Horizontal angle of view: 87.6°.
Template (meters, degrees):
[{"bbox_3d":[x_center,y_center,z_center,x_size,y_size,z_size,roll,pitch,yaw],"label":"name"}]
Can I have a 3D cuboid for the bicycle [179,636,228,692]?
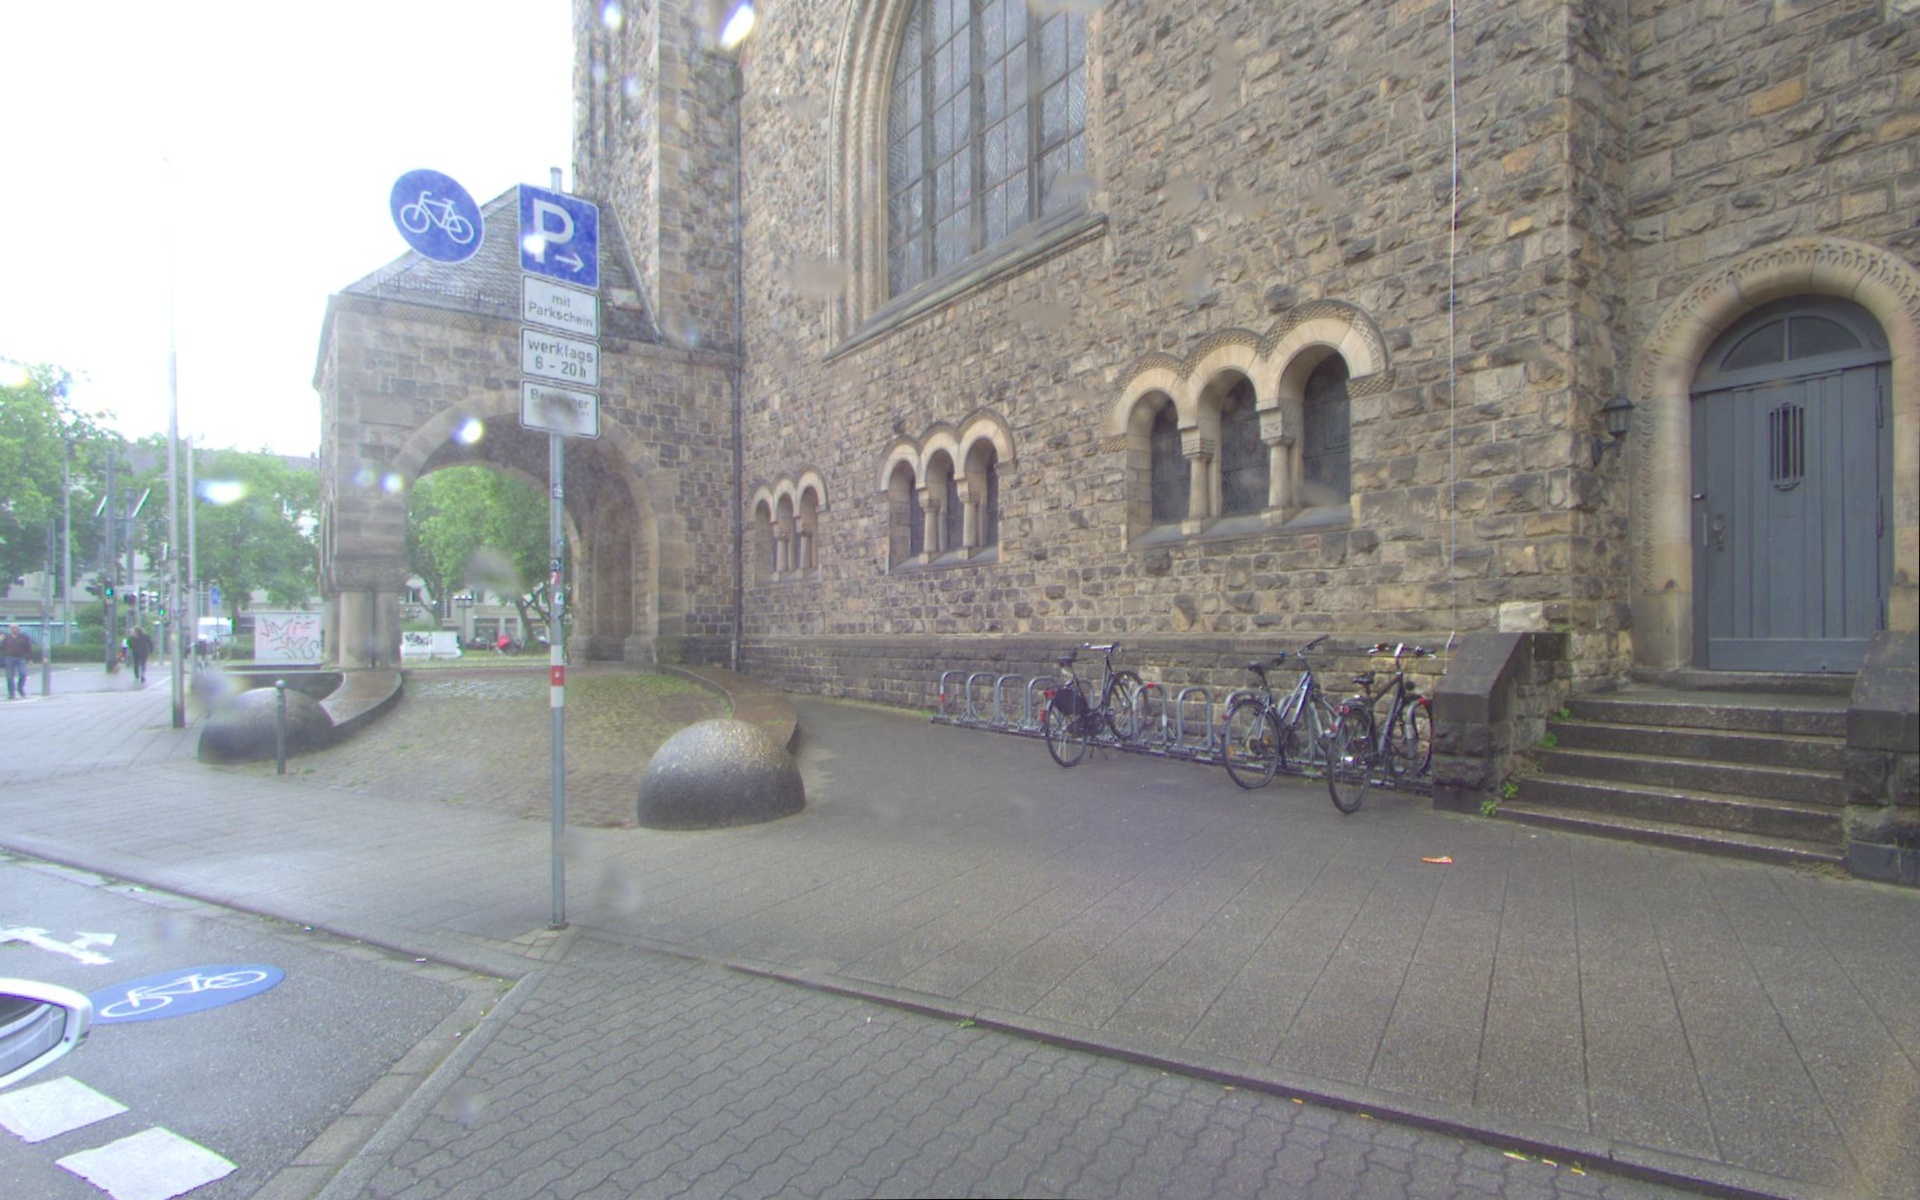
[{"bbox_3d":[-16.626,1.392,21.991,2.049,1.169,0.327,-1,-1,38],"label":"bicycle"}]

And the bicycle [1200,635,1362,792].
[{"bbox_3d":[2.735,0.894,8.436,1.697,1.126,0.556,-2,0,-45],"label":"bicycle"}]

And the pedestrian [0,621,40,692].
[{"bbox_3d":[-24.044,1.423,25.576,0.780,1.782,0.936,0,0,-43],"label":"pedestrian"}]

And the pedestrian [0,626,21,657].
[{"bbox_3d":[-48.772,2.118,51.365,0.666,1.573,0.758,0,-2,-30],"label":"pedestrian"}]

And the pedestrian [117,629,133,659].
[{"bbox_3d":[-45.175,2.385,54.163,0.607,1.624,0.491,0,-1,-34],"label":"pedestrian"}]

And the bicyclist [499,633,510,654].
[{"bbox_3d":[-27.612,2.646,60.667,0.517,1.266,0.648,0,-1,-36],"label":"bicyclist"}]

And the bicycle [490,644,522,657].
[{"bbox_3d":[-27.539,3.063,60.699,1.683,0.728,0.648,1,-1,-38],"label":"bicycle"}]

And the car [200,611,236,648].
[{"bbox_3d":[-53.690,2.120,72.529,1.888,2.588,4.757,0,-1,-34],"label":"car"}]

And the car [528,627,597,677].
[{"bbox_3d":[-12.673,1.619,31.829,1.389,1.498,3.200,1,-2,-34],"label":"car"}]

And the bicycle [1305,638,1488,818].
[{"bbox_3d":[3.227,0.854,7.294,1.971,1.068,0.507,-2,0,-45],"label":"bicycle"}]

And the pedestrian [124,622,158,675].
[{"bbox_3d":[-26.387,1.549,32.285,0.775,1.667,0.651,0,0,-34],"label":"pedestrian"}]

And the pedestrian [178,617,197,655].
[{"bbox_3d":[-42.875,1.990,55.570,0.797,2.040,0.586,0,-1,-31],"label":"pedestrian"}]

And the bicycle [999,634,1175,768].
[{"bbox_3d":[1.301,0.938,9.914,0.684,1.119,1.973,-1,0,43],"label":"bicycle"}]
